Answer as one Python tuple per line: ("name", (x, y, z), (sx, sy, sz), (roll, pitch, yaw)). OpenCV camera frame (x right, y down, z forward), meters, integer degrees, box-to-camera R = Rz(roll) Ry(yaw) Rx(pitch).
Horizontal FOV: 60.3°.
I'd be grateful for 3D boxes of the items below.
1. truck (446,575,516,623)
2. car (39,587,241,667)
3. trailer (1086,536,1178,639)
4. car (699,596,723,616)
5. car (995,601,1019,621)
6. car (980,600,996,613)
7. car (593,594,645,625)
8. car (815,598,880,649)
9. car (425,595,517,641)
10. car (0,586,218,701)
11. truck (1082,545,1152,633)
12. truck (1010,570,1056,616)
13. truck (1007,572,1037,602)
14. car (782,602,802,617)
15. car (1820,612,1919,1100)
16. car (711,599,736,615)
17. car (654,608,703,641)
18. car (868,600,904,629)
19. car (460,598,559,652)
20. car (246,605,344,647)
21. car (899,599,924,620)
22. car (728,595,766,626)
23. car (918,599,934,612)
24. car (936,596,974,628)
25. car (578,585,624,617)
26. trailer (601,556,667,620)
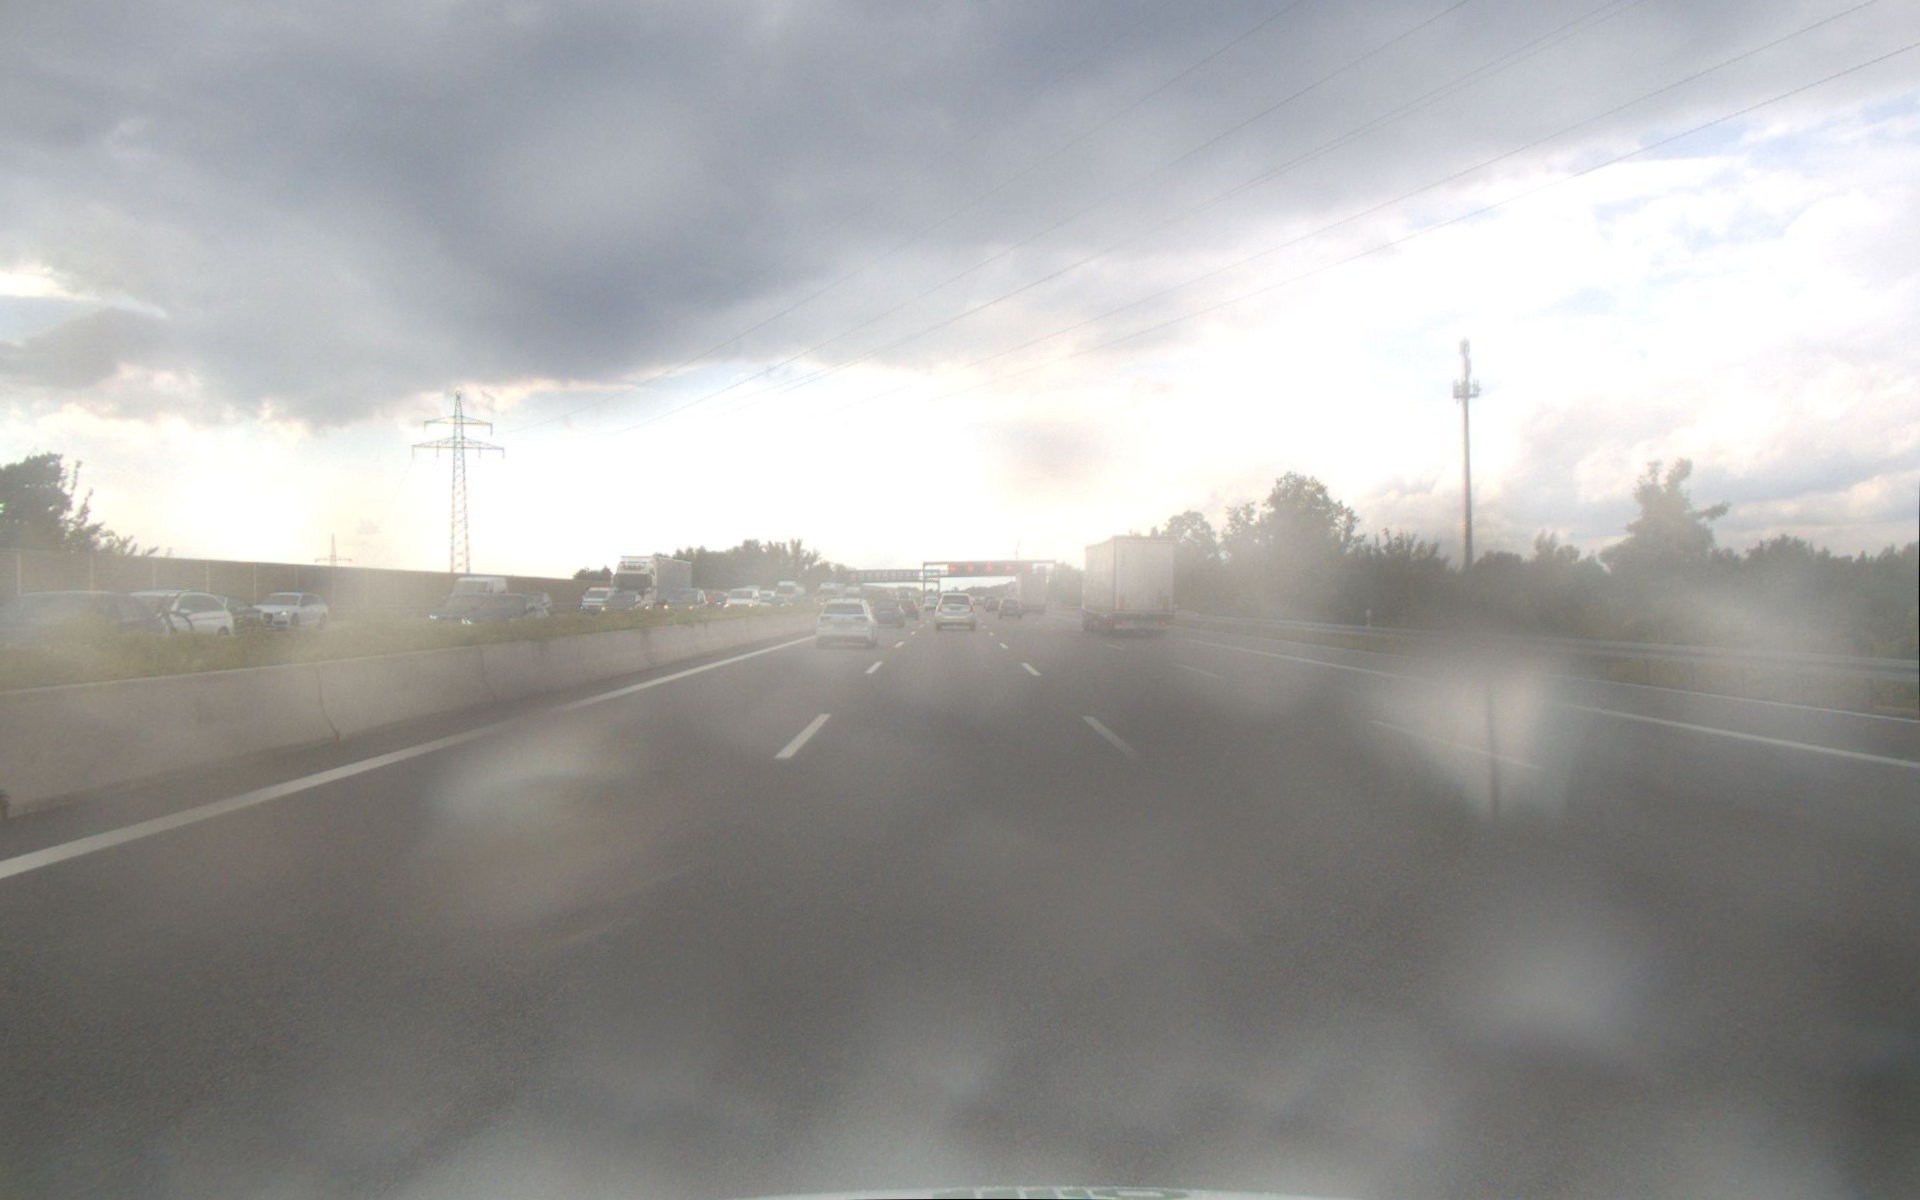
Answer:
("truck", (-25.444, -0.035, 88.122), (2.073, 2.459, 5.795), (1, 0, -1))
("car", (-17.332, 0.542, 35.287), (1.729, 1.563, 5.239), (1, 0, -1))
("trailer", (7.376, -0.489, 72.853), (2.900, 4.090, 14.120), (0, 0, 1))
("car", (-25.604, 0.603, 170.292), (1.729, 2.002, 4.942), (1, 0, -1))
("car", (3.607, 0.815, 127.194), (1.798, 1.466, 4.055), (0, 0, 1))
("car", (3.121, 0.696, 185.553), (1.798, 1.466, 4.055), (0, 0, 1))
("car", (-18.006, 0.515, 87.529), (1.729, 1.563, 5.159), (1, 0, -1))
("car", (-3.405, 0.691, 50.472), (1.736, 1.466, 3.873), (0, 0, -1))
("car", (-17.869, 0.640, 60.654), (1.729, 1.576, 5.712), (1, 0, -1))
("car", (-13.161, 0.603, 25.122), (1.729, 1.563, 4.582), (1, 0, -1))
("truck", (7.520, -0.512, 79.822), (2.900, 4.090, 6.589), (0, 0, 1))
("truck", (7.316, -0.681, 167.742), (4.094, 4.363, 12.612), (1, 0, 0))
("truck", (9.184, -1.912, 245.235), (4.156, 4.249, 11.990), (1, 0, 1))
("car", (-18.223, 1.029, 179.283), (1.729, 1.480, 4.233), (1, 0, -1))
("car", (3.618, 0.780, 3.988), (1.417, 1.466, 3.163), (0, 0, -1))
("car", (-21.954, 0.647, 153.670), (1.729, 1.480, 4.942), (1, 0, -1))
("car", (-13.976, 1.190, 82.242), (1.729, 1.563, 4.482), (1, 0, -1))
("car", (-3.815, 0.744, 85.946), (1.736, 1.466, 4.054), (0, 0, -1))
("car", (-14.041, 0.755, 51.872), (1.729, 1.563, 5.159), (1, 0, -1))
("car", (-25.317, 0.969, 63.156), (1.729, 1.522, 5.159), (1, 0, -1))
("car", (-3.425, 0.664, 117.116), (1.736, 1.466, 4.054), (0, 0, -1))
("car", (-14.153, 0.700, 110.030), (1.883, 1.933, 5.159), (1, 0, -1))
("car", (-4.005, 0.606, 194.704), (1.736, 1.466, 4.055), (0, 0, 1))
("car", (-0.259, 0.565, 79.666), (1.736, 1.466, 4.054), (0, 0, -1))
("car", (-25.717, 0.089, 118.665), (2.073, 2.232, 5.797), (1, 0, -1))
("trailer", (-21.811, -0.787, 110.919), (3.252, 4.114, 6.077), (1, 0, -1))
